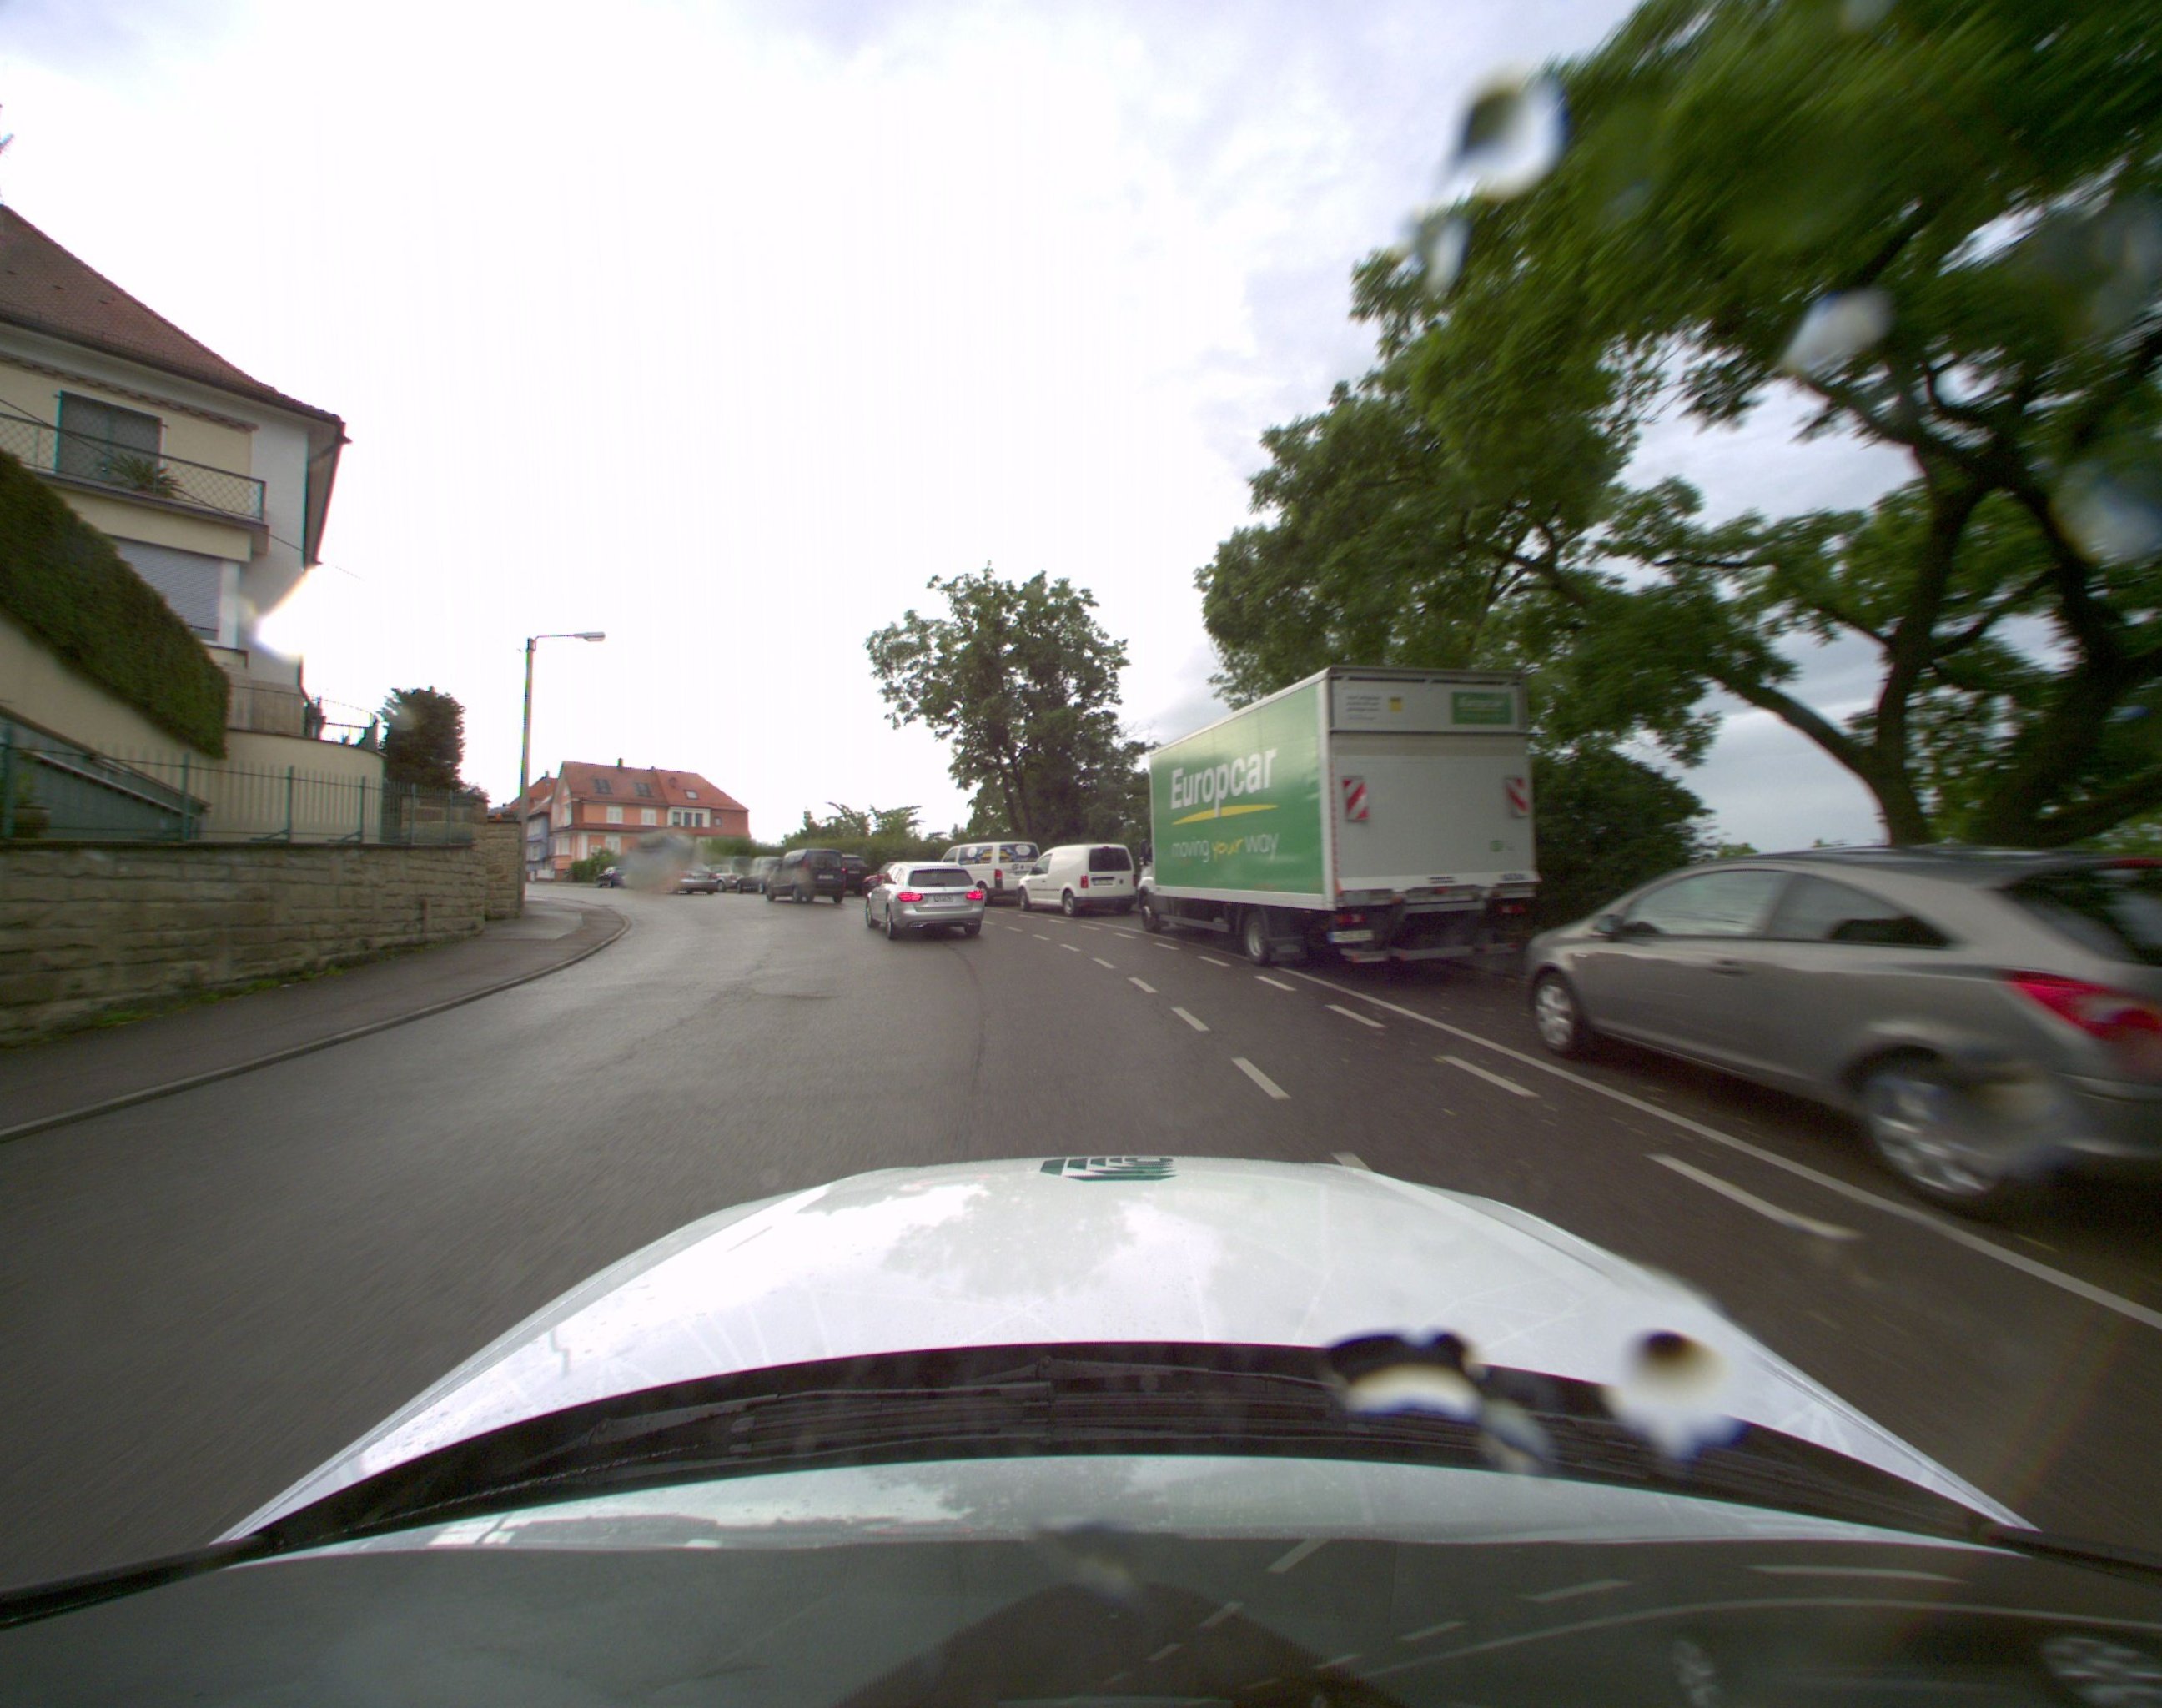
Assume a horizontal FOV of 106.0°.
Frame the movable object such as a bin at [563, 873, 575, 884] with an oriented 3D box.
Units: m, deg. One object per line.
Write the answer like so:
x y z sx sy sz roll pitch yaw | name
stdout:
-46.297 2.215 73.677 0.663 0.969 0.573 1 -3 13 | movable object such as a bin

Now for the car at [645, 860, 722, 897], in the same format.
-17.939 1.111 36.678 1.871 1.458 4.044 -2 -1 -45 | car

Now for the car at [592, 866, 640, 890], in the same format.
-32.251 1.670 56.416 4.153 1.530 1.769 -2 -4 44 | car

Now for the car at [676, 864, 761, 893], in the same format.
-19.505 1.297 43.740 4.582 1.440 1.816 0 -2 31 | car

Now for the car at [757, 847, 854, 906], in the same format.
-9.731 0.776 28.610 1.839 1.882 4.047 -2 0 -40 | car

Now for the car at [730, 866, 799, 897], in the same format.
-15.320 1.351 39.299 1.703 1.422 3.934 2 -3 -44 | car

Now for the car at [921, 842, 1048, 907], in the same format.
-3.291 0.636 26.994 1.876 1.948 4.751 0 0 -40 | car

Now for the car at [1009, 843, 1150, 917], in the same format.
-0.168 0.642 21.939 1.872 1.770 4.336 -1 0 -30 | car

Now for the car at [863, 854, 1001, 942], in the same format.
-3.231 0.815 16.949 1.991 1.554 4.266 -1 0 -22 | car

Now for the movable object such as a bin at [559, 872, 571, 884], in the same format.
-47.569 2.218 75.072 0.748 1.030 0.718 -1 -1 43 | movable object such as a bin

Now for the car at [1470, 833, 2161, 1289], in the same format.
4.258 0.680 4.856 1.730 1.503 4.131 -2 0 -3 | car

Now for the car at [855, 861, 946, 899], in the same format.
-7.064 0.991 31.726 3.695 1.414 1.686 -1 -2 43 | car

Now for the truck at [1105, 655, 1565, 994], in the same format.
2.933 -0.328 13.012 2.777 3.470 8.891 -2 0 -14 | truck

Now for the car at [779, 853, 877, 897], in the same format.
-11.106 0.883 35.585 2.045 1.783 4.838 2 -2 -45 | car

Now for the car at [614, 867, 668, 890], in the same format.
-28.428 1.592 52.555 4.550 1.406 1.729 -1 -3 44 | car
